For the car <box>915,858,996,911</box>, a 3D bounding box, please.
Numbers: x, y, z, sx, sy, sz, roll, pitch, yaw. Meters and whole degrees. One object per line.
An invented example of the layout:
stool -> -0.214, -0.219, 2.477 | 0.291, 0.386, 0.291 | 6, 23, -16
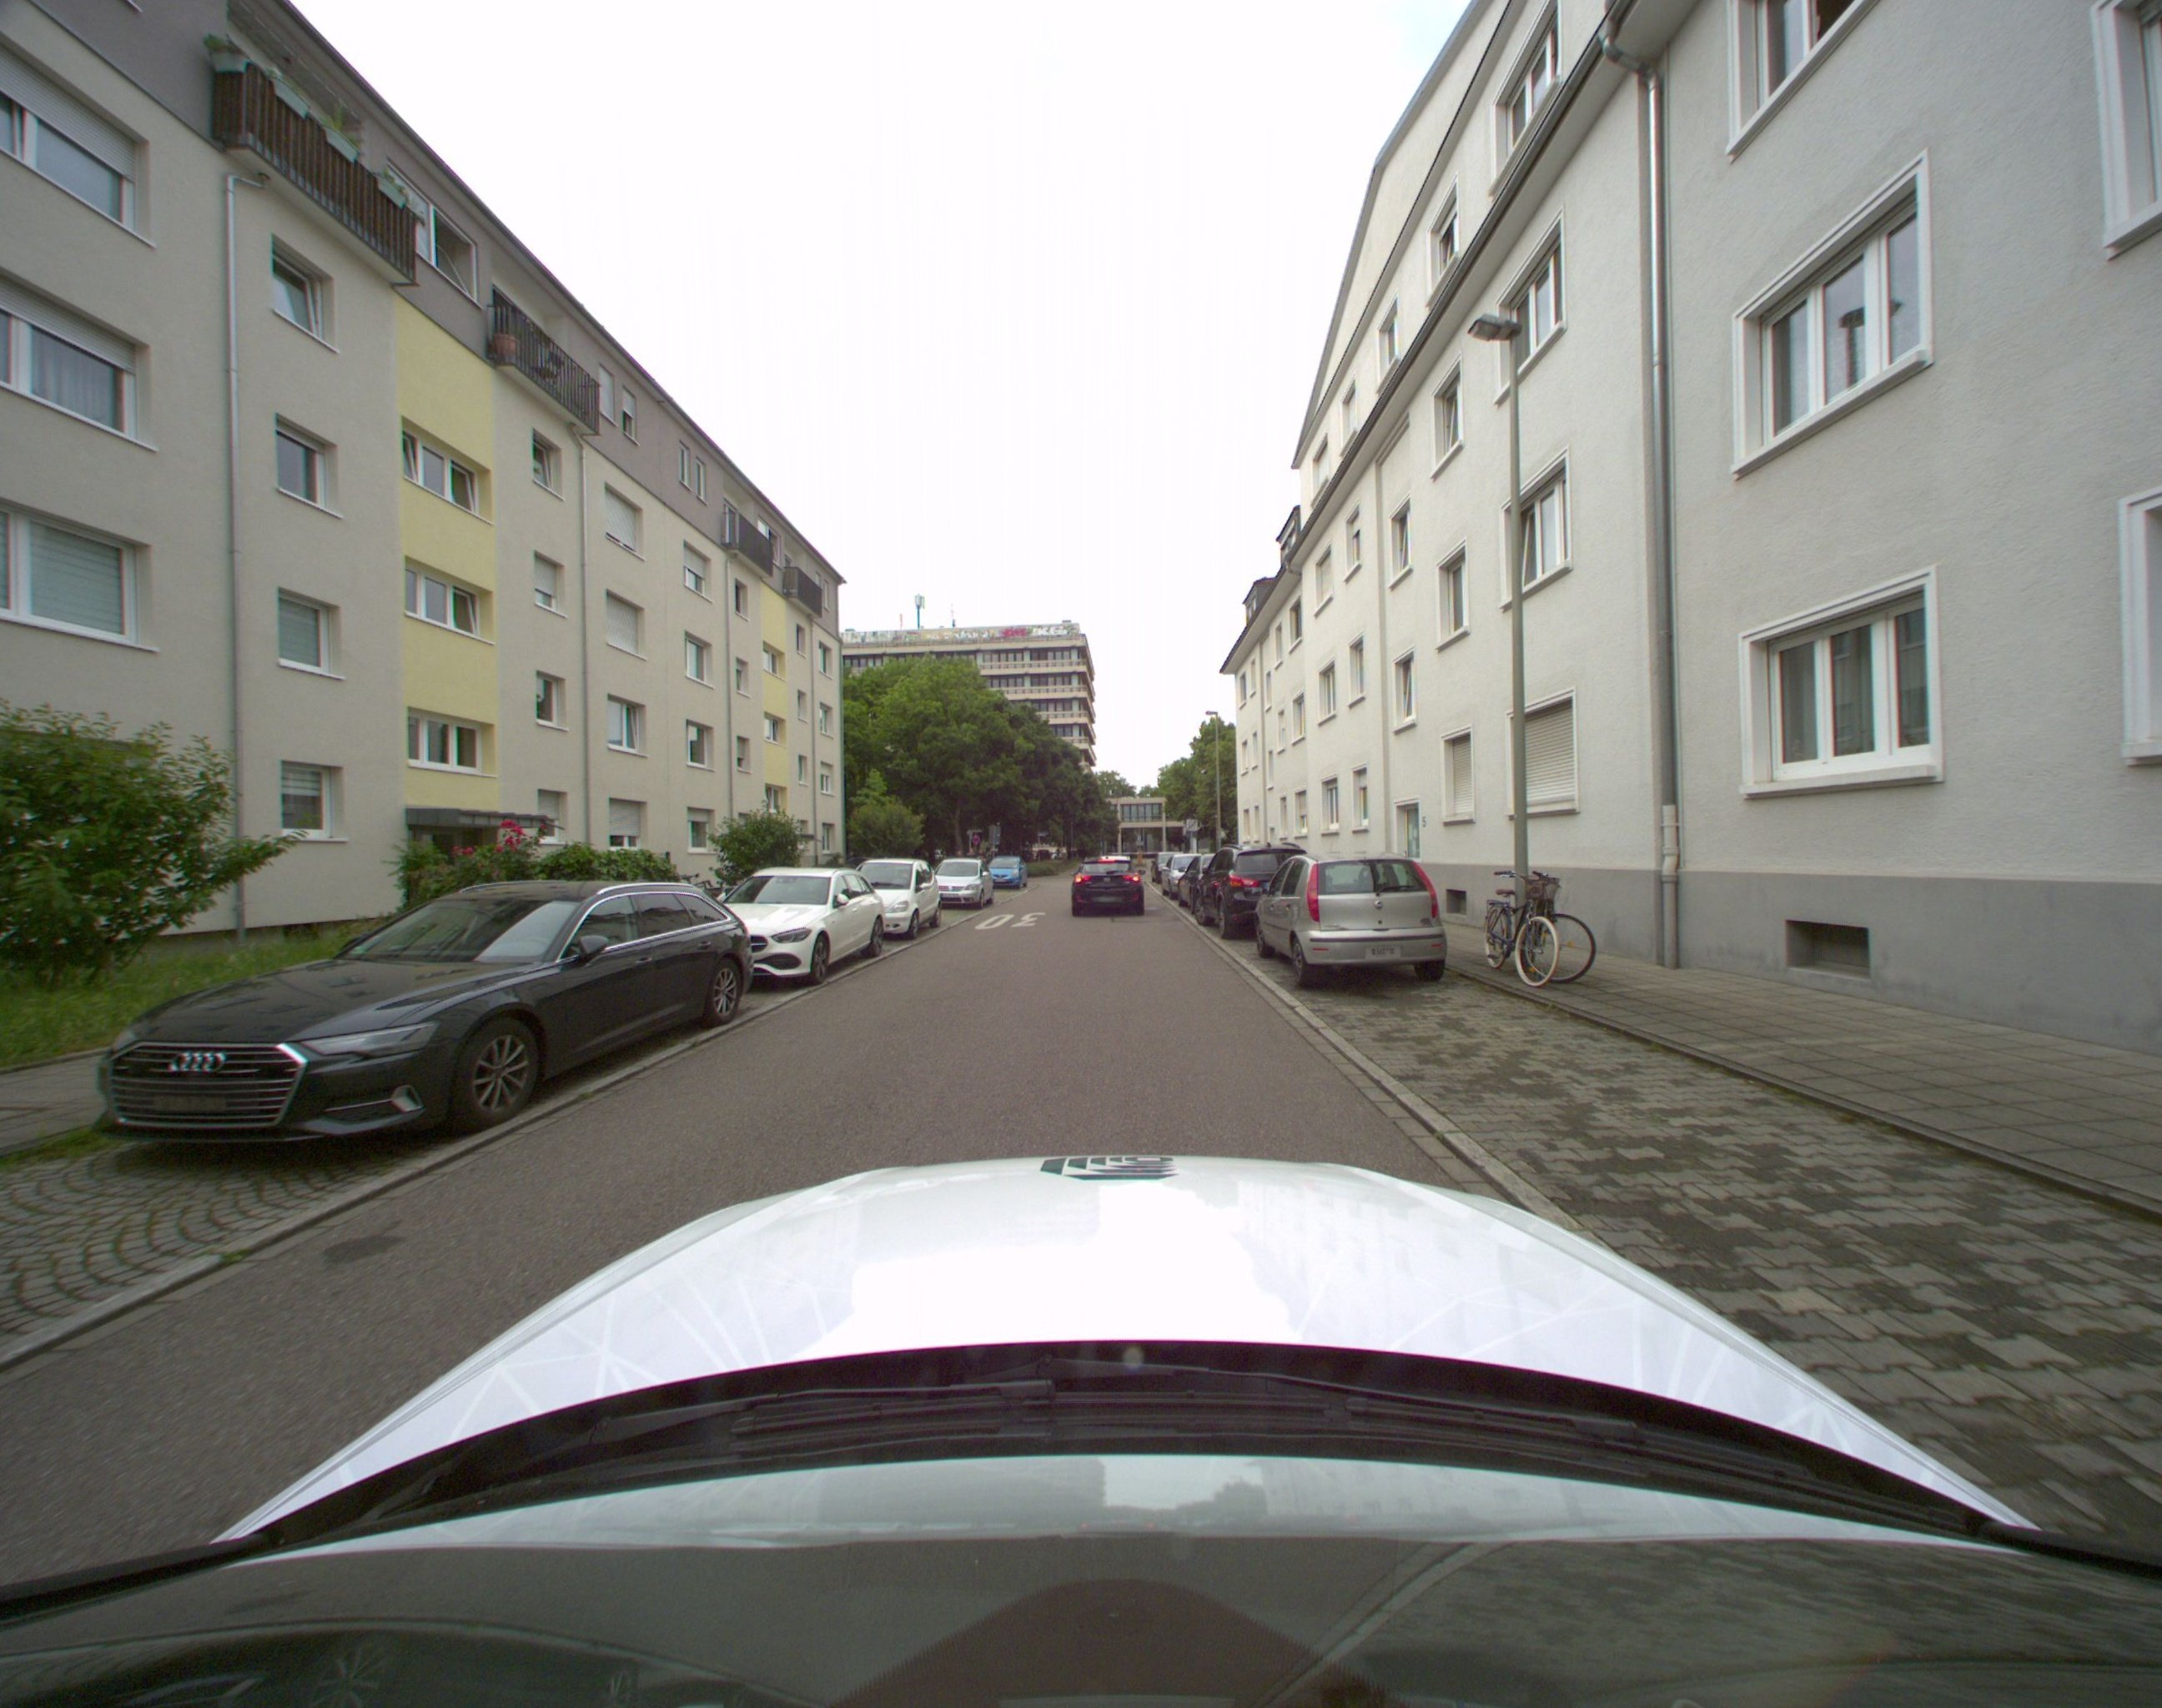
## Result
car -> -3.947, 0.927, 26.264 | 1.987, 1.541, 3.999 | -1, 0, 0

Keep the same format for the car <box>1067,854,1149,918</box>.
car -> 0.737, 0.763, 21.314 | 1.895, 1.433, 4.236 | -2, 0, 3

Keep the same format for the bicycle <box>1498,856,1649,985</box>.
bicycle -> 5.148, 0.627, 8.680 | 0.573, 1.175, 2.041 | -3, 0, 8

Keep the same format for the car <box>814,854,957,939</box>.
car -> -4.131, 0.819, 18.018 | 1.888, 1.599, 4.523 | 1, 0, 2

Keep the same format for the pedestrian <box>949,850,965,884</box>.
pedestrian -> -6.220, 0.642, 40.835 | 0.598, 1.713, 0.649 | -1, 0, 3

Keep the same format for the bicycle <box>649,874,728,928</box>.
bicycle -> -8.899, 1.035, 18.565 | 0.728, 1.078, 2.091 | -1, 0, 2

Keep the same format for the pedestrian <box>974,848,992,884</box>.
pedestrian -> -4.960, 0.601, 41.258 | 0.711, 1.831, 0.798 | -1, 0, 4

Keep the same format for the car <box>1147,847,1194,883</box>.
car -> 4.192, 0.482, 38.744 | 1.813, 1.519, 4.675 | -3, 0, 2

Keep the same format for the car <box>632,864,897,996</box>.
car -> -4.206, 0.913, 11.762 | 1.888, 1.452, 4.523 | 1, 0, 2

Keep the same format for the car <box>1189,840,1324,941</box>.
car -> 3.133, 0.585, 15.325 | 1.813, 1.603, 4.094 | -2, 0, 3

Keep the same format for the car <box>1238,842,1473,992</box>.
car -> 3.281, 0.657, 10.623 | 1.813, 1.503, 4.094 | -3, 0, 3

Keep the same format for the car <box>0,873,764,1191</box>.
car -> -4.449, 0.947, 6.445 | 1.888, 1.452, 4.668 | 1, 0, 2

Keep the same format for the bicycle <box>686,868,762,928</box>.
bicycle -> -8.017, 0.951, 18.403 | 0.728, 1.211, 2.091 | -1, 0, 2

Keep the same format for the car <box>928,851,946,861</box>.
car -> -19.651, 0.251, 111.241 | 1.659, 1.333, 3.397 | -1, 0, 2

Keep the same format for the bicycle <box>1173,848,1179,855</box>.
bicycle -> 14.145, -0.366, 121.531 | 0.690, 0.997, 1.736 | -1, 0, 3

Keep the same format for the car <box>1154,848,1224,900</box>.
car -> 3.484, 0.602, 27.009 | 1.813, 1.519, 4.675 | -2, 0, 2

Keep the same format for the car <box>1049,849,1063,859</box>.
car -> -3.358, -0.054, 110.354 | 1.659, 1.333, 3.397 | -1, 0, 2

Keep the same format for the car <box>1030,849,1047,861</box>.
car -> -5.074, 0.082, 96.950 | 1.659, 1.333, 3.397 | -1, 0, 2

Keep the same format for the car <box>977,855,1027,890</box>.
car -> -3.682, 0.853, 38.650 | 1.987, 1.541, 3.999 | -1, 0, 0

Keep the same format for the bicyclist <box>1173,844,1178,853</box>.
bicyclist -> 14.140, -0.813, 121.564 | 0.691, 1.444, 0.795 | -1, 0, 2

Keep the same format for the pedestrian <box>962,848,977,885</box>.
pedestrian -> -5.678, 0.629, 41.515 | 0.602, 1.831, 0.676 | -1, 0, 4

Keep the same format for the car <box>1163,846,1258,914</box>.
car -> 3.256, 0.596, 21.259 | 1.814, 1.519, 4.675 | -2, 0, 1

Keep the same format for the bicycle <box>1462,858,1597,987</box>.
bicycle -> 4.719, 0.655, 8.727 | 0.527, 1.175, 2.041 | -3, 0, 8

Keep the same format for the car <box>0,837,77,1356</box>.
car -> -4.625, 0.803, 0.688 | 1.888, 1.740, 4.477 | 1, 0, 2
